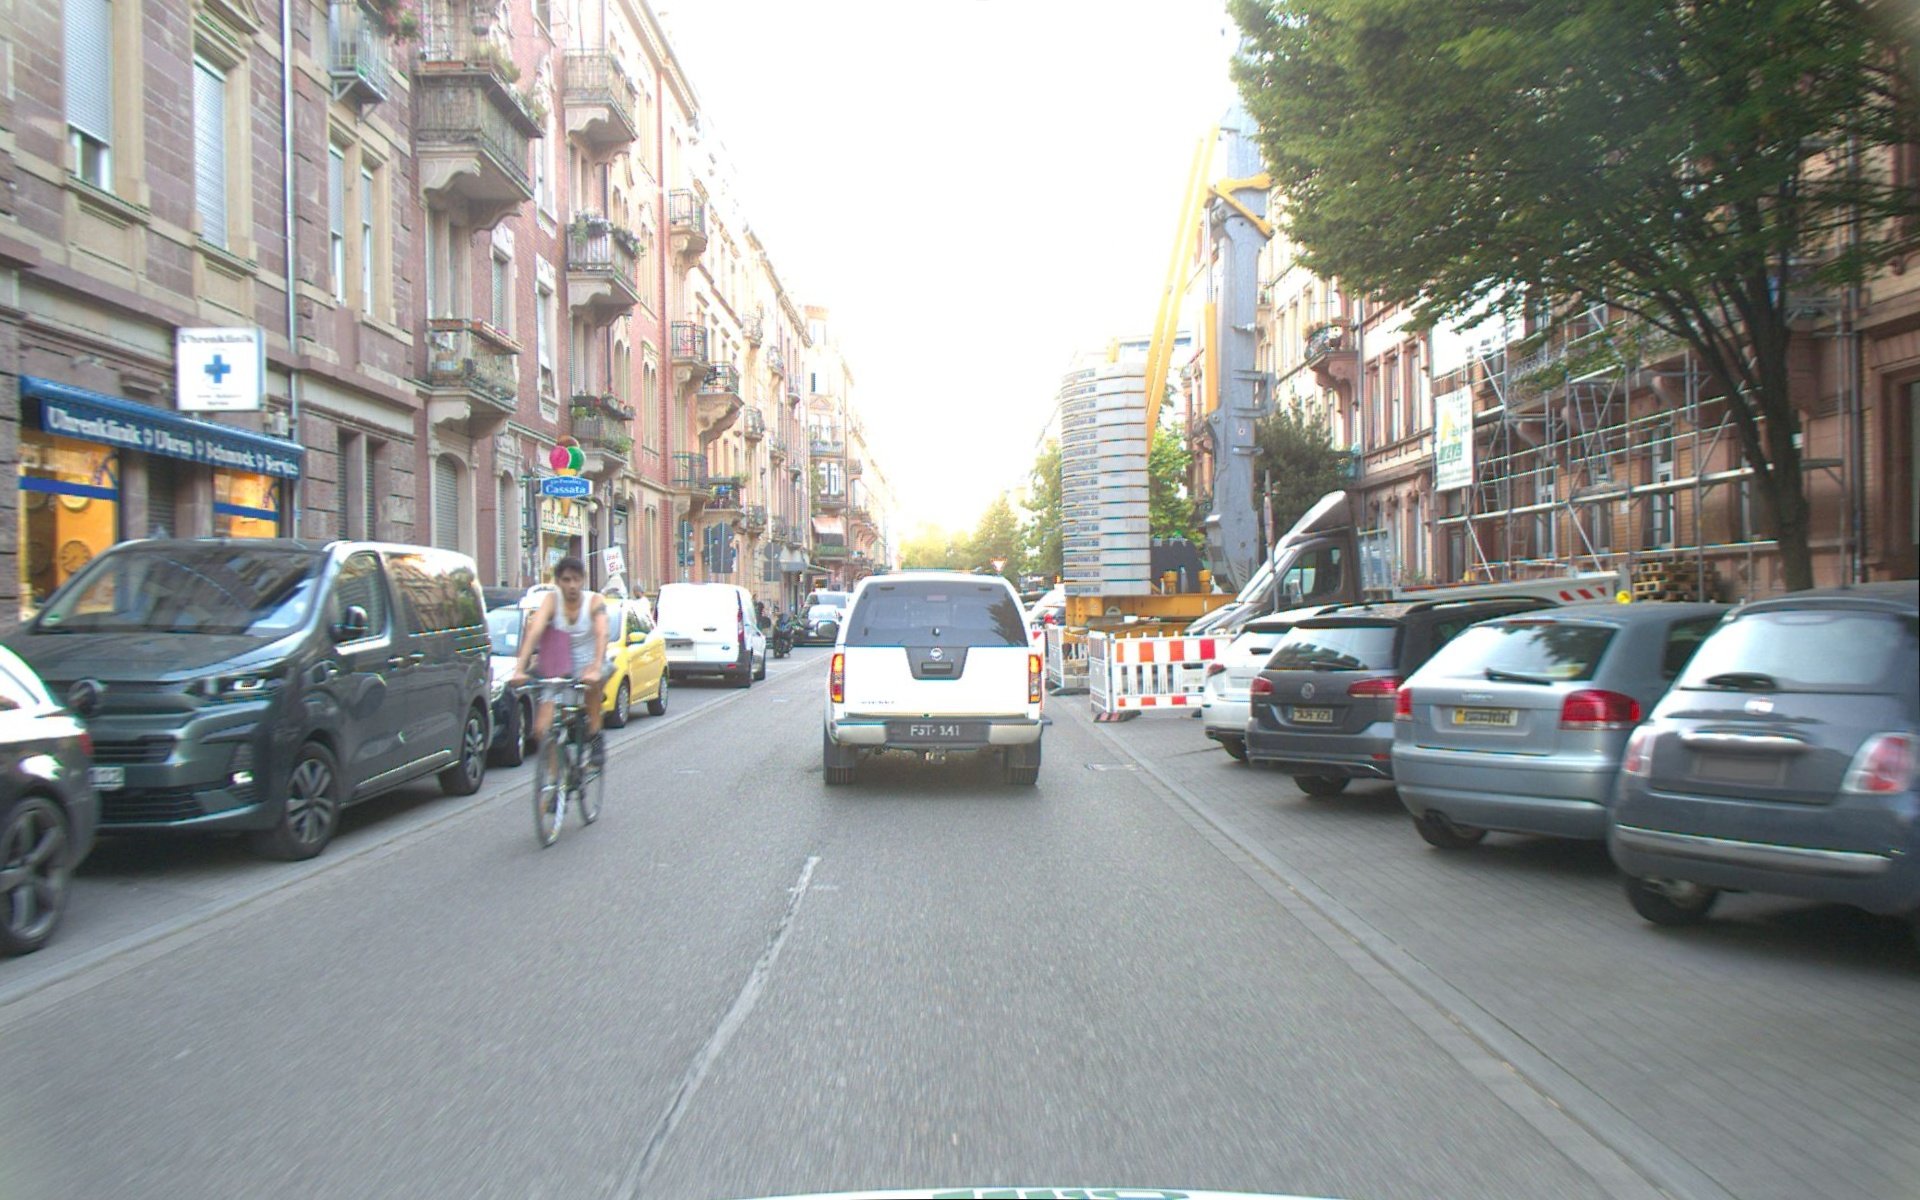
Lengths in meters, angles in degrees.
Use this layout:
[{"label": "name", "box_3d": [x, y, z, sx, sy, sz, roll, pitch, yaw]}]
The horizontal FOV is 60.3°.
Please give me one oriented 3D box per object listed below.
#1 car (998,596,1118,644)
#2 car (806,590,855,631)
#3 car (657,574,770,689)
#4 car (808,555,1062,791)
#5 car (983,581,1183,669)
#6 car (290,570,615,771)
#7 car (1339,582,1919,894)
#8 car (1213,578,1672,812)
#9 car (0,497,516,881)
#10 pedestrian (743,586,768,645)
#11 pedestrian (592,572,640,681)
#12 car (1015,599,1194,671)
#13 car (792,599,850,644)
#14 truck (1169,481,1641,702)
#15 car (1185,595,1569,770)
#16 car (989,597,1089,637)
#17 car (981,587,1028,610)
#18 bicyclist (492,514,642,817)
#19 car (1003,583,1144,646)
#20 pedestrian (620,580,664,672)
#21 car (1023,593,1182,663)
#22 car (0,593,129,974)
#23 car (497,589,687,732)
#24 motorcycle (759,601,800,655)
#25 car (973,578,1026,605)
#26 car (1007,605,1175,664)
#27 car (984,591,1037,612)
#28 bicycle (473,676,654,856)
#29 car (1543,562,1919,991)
[{"label": "car", "box_3d": [3.385, 0.698, 57.648, 4.108, 1.650, 1.820, 0, 0, 2]}, {"label": "car", "box_3d": [-5.093, 0.403, 65.331, 1.675, 1.557, 3.999, 0, 0, -1]}, {"label": "car", "box_3d": [-4.473, 0.547, 30.469, 1.527, 1.955, 3.855, 1, 0, -1]}, {"label": "car", "box_3d": [-0.399, 0.570, 15.177, 1.896, 1.826, 4.615, 0, 0, -6]}, {"label": "car", "box_3d": [2.600, 0.517, 34.921, 4.106, 1.811, 1.821, 0, 0, 5]}, {"label": "car", "box_3d": [-4.791, 0.609, 16.260, 1.865, 1.692, 4.068, -1, 0, 1]}, {"label": "car", "box_3d": [4.285, 0.686, 10.152, 3.794, 1.462, 1.741, -2, 1, -36]}, {"label": "car", "box_3d": [3.852, 0.632, 12.906, 3.857, 1.557, 1.614, 0, 0, -40]}, {"label": "car", "box_3d": [-4.529, 0.454, 10.905, 1.866, 1.959, 4.946, 0, 0, 0]}, {"label": "pedestrian", "box_3d": [-7.189, 0.537, 58.246, 0.772, 2.049, 0.934, 0, 0, -1]}, {"label": "pedestrian", "box_3d": [-6.108, 0.462, 29.375, 0.723, 1.902, 0.618, 0, 0, -2]}, {"label": "car", "box_3d": [3.350, 0.802, 38.929, 4.108, 1.650, 1.820, 0, 0, 2]}, {"label": "car", "box_3d": [-4.970, 0.749, 59.403, 1.755, 1.557, 4.000, 0, 0, 0]}, {"label": "truck", "box_3d": [6.260, -0.063, 23.929, 6.190, 3.029, 2.264, 0, -3, 1]}, {"label": "car", "box_3d": [4.004, 0.702, 15.762, 3.513, 1.490, 1.594, 0, 0, -32]}, {"label": "car", "box_3d": [3.266, 0.699, 68.823, 4.108, 1.650, 1.820, 0, 0, 2]}, {"label": "car", "box_3d": [4.291, -0.168, 159.631, 4.492, 2.215, 1.820, 0, 0, 2]}, {"label": "bicyclist", "box_3d": [-2.533, 0.406, 10.750, 0.784, 1.882, 0.943, 0, 0, -3]}, {"label": "car", "box_3d": [3.336, 0.426, 49.203, 4.108, 1.811, 1.820, 0, 0, 2]}, {"label": "pedestrian", "box_3d": [-6.665, 0.546, 34.655, 0.604, 1.902, 0.740, 0, 0, 22]}, {"label": "car", "box_3d": [3.767, 0.731, 43.872, 4.106, 1.811, 1.821, 0, 0, 5]}, {"label": "car", "box_3d": [-4.687, 0.717, 5.223, 1.872, 1.497, 4.533, 0, 0, -1]}, {"label": "car", "box_3d": [-4.543, 0.693, 20.915, 1.468, 1.621, 3.856, -1, 0, 1]}, {"label": "motorcycle", "box_3d": [-4.946, 0.755, 45.363, 0.819, 1.441, 2.549, 0, 0, 1]}, {"label": "car", "box_3d": [3.393, -0.728, 141.935, 4.492, 2.215, 1.820, 0, 0, 2]}, {"label": "car", "box_3d": [3.298, 0.851, 41.501, 4.106, 1.455, 1.821, 0, 0, 5]}, {"label": "car", "box_3d": [4.000, 0.142, 130.006, 4.108, 1.650, 1.820, 0, 0, 2]}, {"label": "bicycle", "box_3d": [-2.529, 1.026, 10.788, 0.784, 0.963, 2.003, 0, 0, -3]}, {"label": "car", "box_3d": [4.769, 0.590, 7.656, 3.778, 1.557, 1.748, -2, 0, -26]}]
